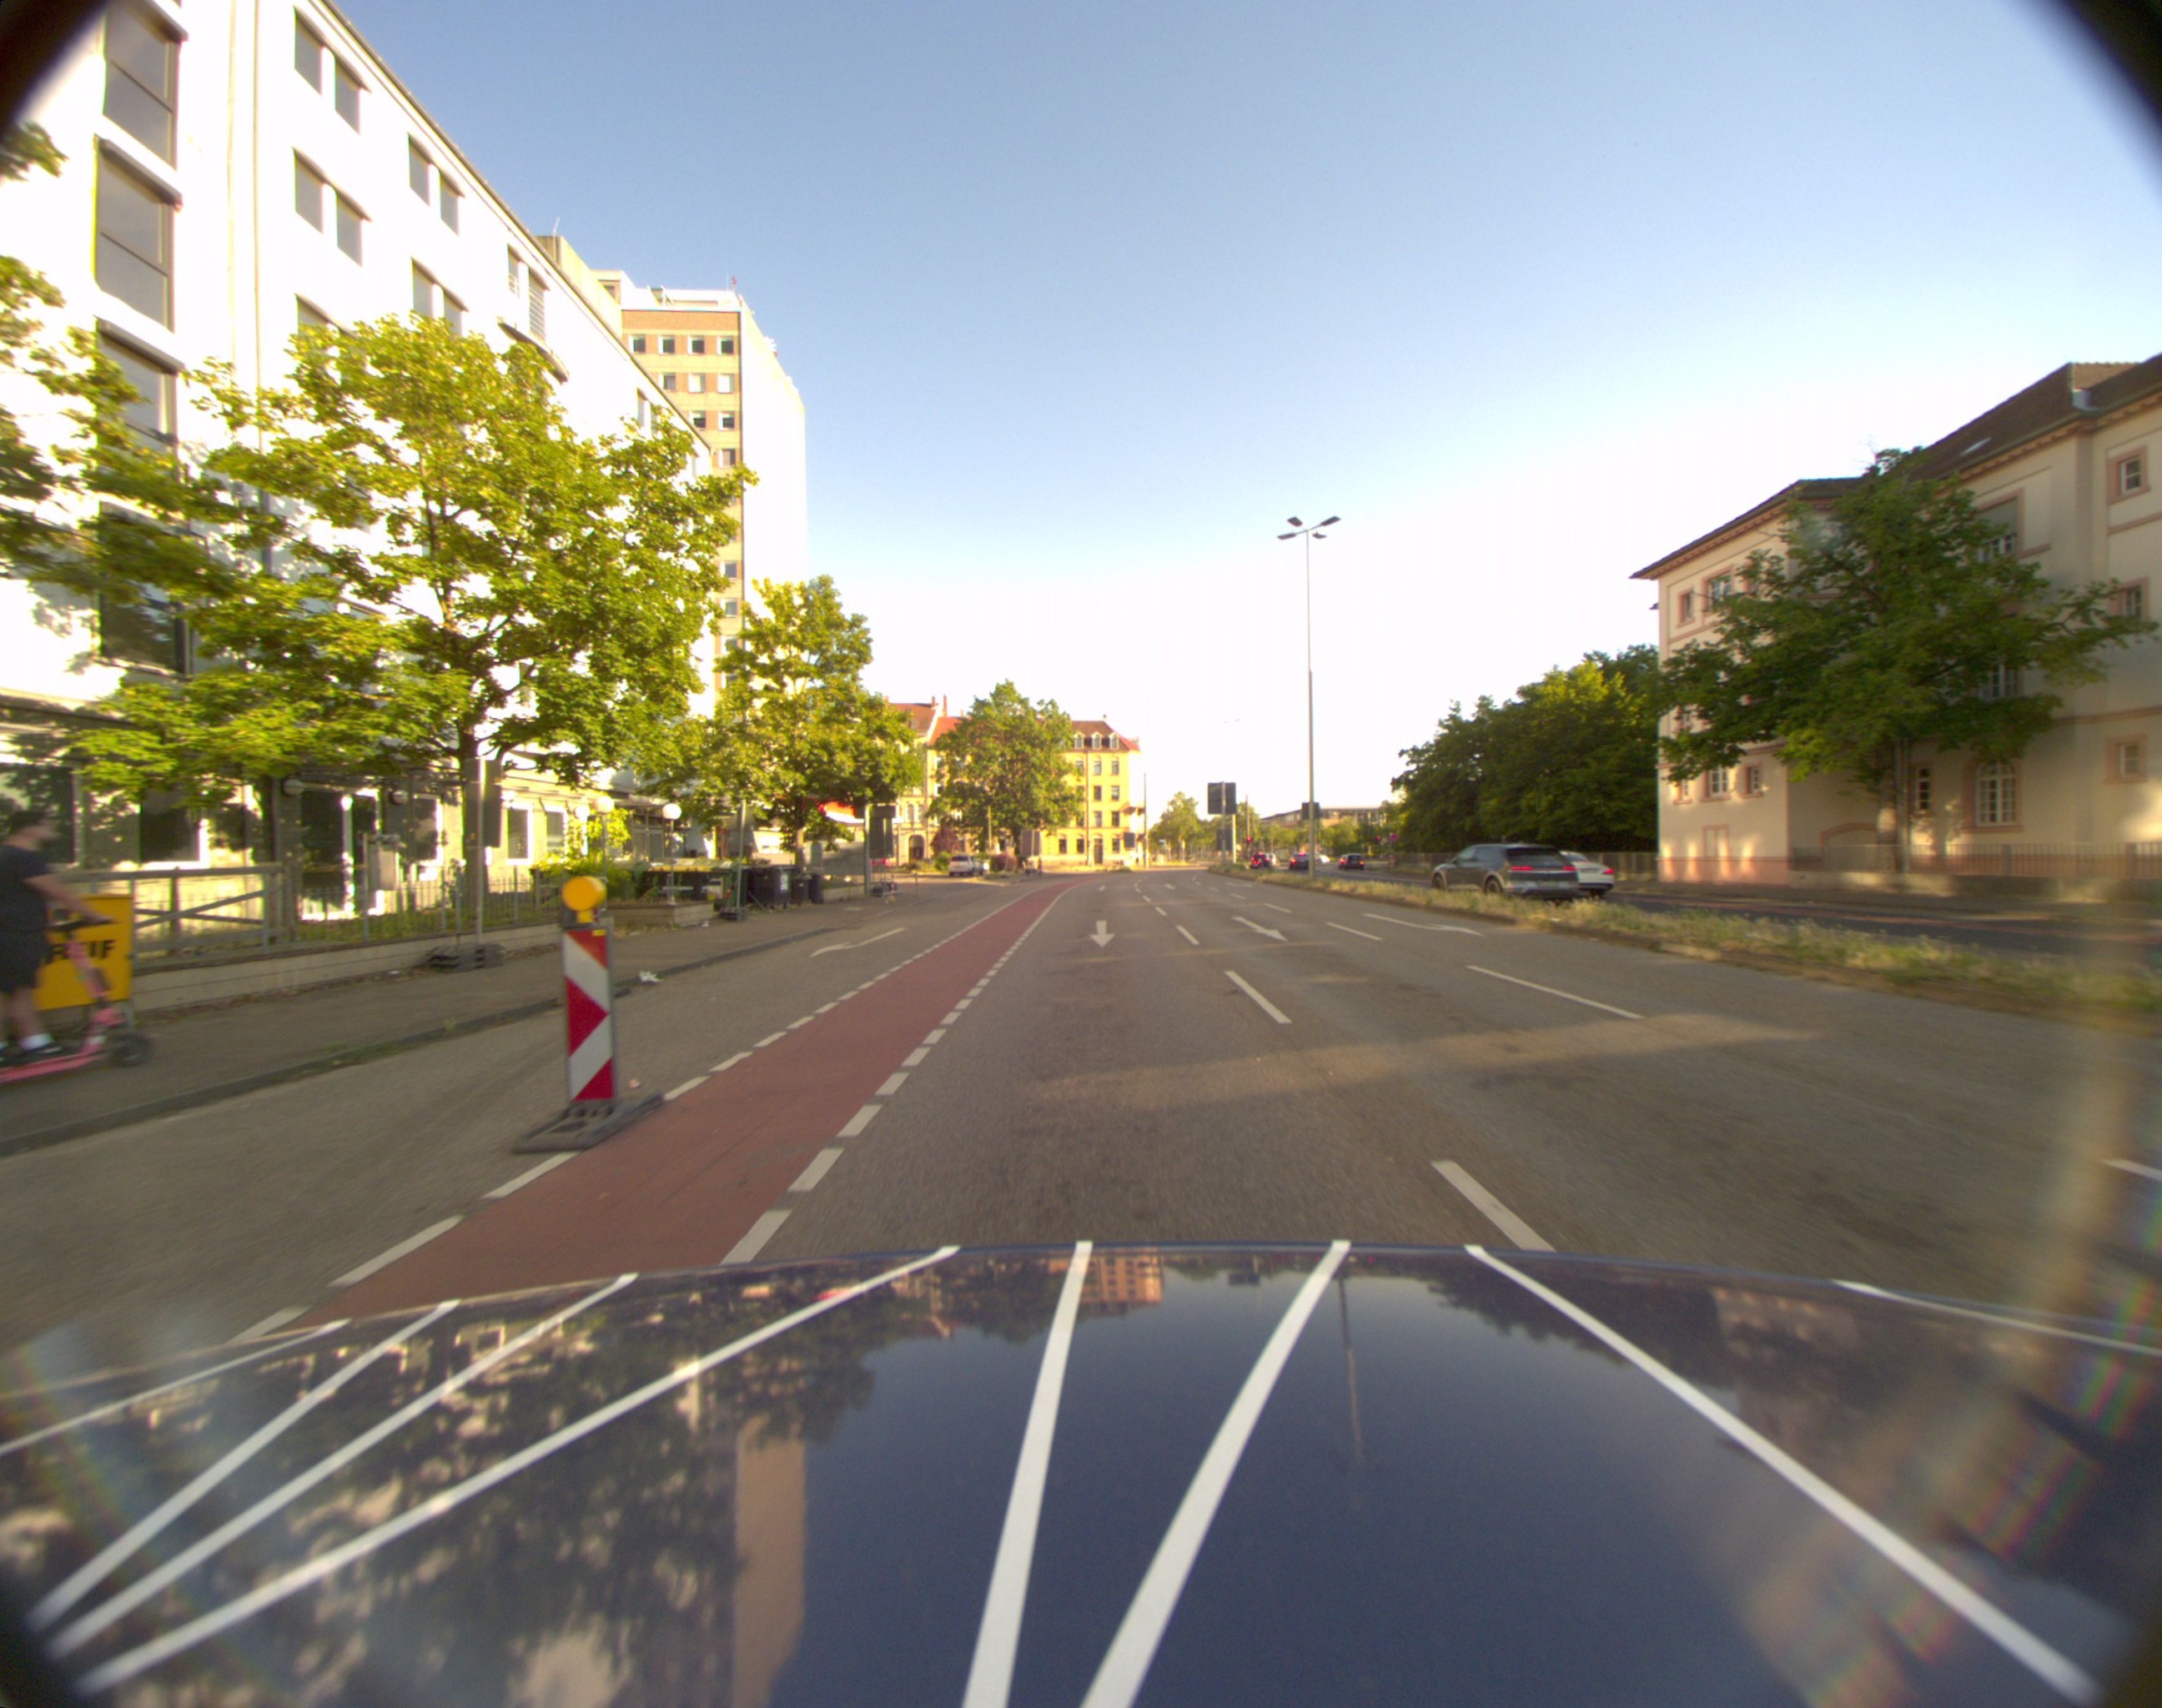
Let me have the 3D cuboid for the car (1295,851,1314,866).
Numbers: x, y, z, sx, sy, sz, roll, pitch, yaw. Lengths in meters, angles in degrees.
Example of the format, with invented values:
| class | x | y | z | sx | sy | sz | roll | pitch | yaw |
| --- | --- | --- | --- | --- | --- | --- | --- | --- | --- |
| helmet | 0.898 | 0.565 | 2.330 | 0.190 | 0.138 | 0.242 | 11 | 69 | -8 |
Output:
| class | x | y | z | sx | sy | sz | roll | pitch | yaw |
| --- | --- | --- | --- | --- | --- | --- | --- | --- | --- |
| car | 21.464 | 0.422 | 72.956 | 1.721 | 1.311 | 3.899 | 0 | 0 | 16 |

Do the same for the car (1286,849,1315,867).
| class | x | y | z | sx | sy | sz | roll | pitch | yaw |
| --- | --- | --- | --- | --- | --- | --- | --- | --- | --- |
| car | 18.873 | 0.359 | 65.530 | 1.997 | 1.487 | 5.297 | 0 | 0 | 12 |

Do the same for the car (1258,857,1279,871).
| class | x | y | z | sx | sy | sz | roll | pitch | yaw |
| --- | --- | --- | --- | --- | --- | --- | --- | --- | --- |
| car | 19.094 | 1.009 | 77.216 | 1.720 | 1.289 | 4.255 | 0 | 0 | 19 |

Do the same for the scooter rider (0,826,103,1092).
| class | x | y | z | sx | sy | sz | roll | pitch | yaw |
| --- | --- | --- | --- | --- | --- | --- | --- | --- | --- |
| scooter rider | -7.519 | 0.708 | 5.339 | 0.616 | 1.779 | 0.487 | -1 | 1 | 2 |

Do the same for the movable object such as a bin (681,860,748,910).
| class | x | y | z | sx | sy | sz | roll | pitch | yaw |
| --- | --- | --- | --- | --- | --- | --- | --- | --- | --- |
| movable object such as a bin | -10.939 | 0.912 | 22.751 | 1.311 | 1.425 | 1.280 | 1 | 0 | 6 |

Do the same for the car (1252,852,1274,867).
| class | x | y | z | sx | sy | sz | roll | pitch | yaw |
| --- | --- | --- | --- | --- | --- | --- | --- | --- | --- |
| car | 17.075 | 0.487 | 71.162 | 1.720 | 1.289 | 4.382 | 0 | 0 | 18 |

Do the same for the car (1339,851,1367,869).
| class | x | y | z | sx | sy | sz | roll | pitch | yaw |
| --- | --- | --- | --- | --- | --- | --- | --- | --- | --- |
| car | 23.876 | 0.502 | 66.784 | 1.856 | 1.455 | 4.004 | -1 | 0 | 13 |

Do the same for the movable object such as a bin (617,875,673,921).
| class | x | y | z | sx | sy | sz | roll | pitch | yaw |
| --- | --- | --- | --- | --- | --- | --- | --- | --- | --- |
| movable object such as a bin | -11.122 | 1.109 | 19.411 | 1.025 | 1.122 | 0.651 | -1 | 1 | 2 |

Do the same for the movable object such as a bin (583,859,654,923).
| class | x | y | z | sx | sy | sz | roll | pitch | yaw |
| --- | --- | --- | --- | --- | --- | --- | --- | --- | --- |
| movable object such as a bin | -11.074 | 0.867 | 18.229 | 1.106 | 1.476 | 0.956 | -1 | 1 | 0 |

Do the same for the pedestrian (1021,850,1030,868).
| class | x | y | z | sx | sy | sz | roll | pitch | yaw |
| --- | --- | --- | --- | --- | --- | --- | --- | --- | --- |
| pedestrian | -5.522 | 0.520 | 76.082 | 0.827 | 1.778 | 0.911 | -1 | 1 | -3 |

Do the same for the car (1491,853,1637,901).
| class | x | y | z | sx | sy | sz | roll | pitch | yaw |
| --- | --- | --- | --- | --- | --- | --- | --- | --- | --- |
| car | 15.338 | 0.664 | 24.484 | 1.998 | 1.405 | 4.444 | 0 | 0 | 2 |

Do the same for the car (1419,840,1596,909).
| class | x | y | z | sx | sy | sz | roll | pitch | yaw |
| --- | --- | --- | --- | --- | --- | --- | --- | --- | --- |
| car | 11.073 | 0.469 | 20.241 | 1.998 | 1.569 | 4.899 | -1 | 0 | 0 |

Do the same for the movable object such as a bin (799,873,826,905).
| class | x | y | z | sx | sy | sz | roll | pitch | yaw |
| --- | --- | --- | --- | --- | --- | --- | --- | --- | --- |
| movable object such as a bin | -8.804 | 1.144 | 24.926 | 0.620 | 1.040 | 0.616 | -1 | 1 | 3 |

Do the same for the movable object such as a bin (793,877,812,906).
| class | x | y | z | sx | sy | sz | roll | pitch | yaw |
| --- | --- | --- | --- | --- | --- | --- | --- | --- | --- |
| movable object such as a bin | -8.906 | 1.204 | 24.329 | 0.393 | 0.901 | 0.490 | -1 | 1 | 3 |

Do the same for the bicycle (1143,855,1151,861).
| class | x | y | z | sx | sy | sz | roll | pitch | yaw |
| --- | --- | --- | --- | --- | --- | --- | --- | --- | --- |
| bicycle | 10.650 | 0.623 | 122.647 | 1.071 | 1.018 | 2.976 | 0 | 0 | 4 |

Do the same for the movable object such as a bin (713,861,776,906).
| class | x | y | z | sx | sy | sz | roll | pitch | yaw |
| --- | --- | --- | --- | --- | --- | --- | --- | --- | --- |
| movable object such as a bin | -10.876 | 0.956 | 24.602 | 1.612 | 1.402 | 0.865 | -1 | 1 | 0 |

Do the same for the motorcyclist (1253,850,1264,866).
| class | x | y | z | sx | sy | sz | roll | pitch | yaw |
| --- | --- | --- | --- | --- | --- | --- | --- | --- | --- |
| motorcyclist | 15.558 | 0.384 | 66.687 | 0.852 | 1.390 | 1.063 | 0 | 1 | 18 |

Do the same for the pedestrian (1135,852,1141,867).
| class | x | y | z | sx | sy | sz | roll | pitch | yaw |
| --- | --- | --- | --- | --- | --- | --- | --- | --- | --- |
| pedestrian | 6.310 | 0.568 | 83.976 | 0.488 | 1.622 | 0.526 | 0 | 1 | 36 |

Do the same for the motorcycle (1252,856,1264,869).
| class | x | y | z | sx | sy | sz | roll | pitch | yaw |
| --- | --- | --- | --- | --- | --- | --- | --- | --- | --- |
| motorcycle | 15.568 | 0.720 | 66.748 | 0.859 | 1.101 | 2.473 | 0 | 0 | 17 |

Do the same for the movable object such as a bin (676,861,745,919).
| class | x | y | z | sx | sy | sz | roll | pitch | yaw |
| --- | --- | --- | --- | --- | --- | --- | --- | --- | --- |
| movable object such as a bin | -9.943 | 0.952 | 20.446 | 1.330 | 1.476 | 1.209 | -1 | 1 | -9 |

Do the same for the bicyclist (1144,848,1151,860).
| class | x | y | z | sx | sy | sz | roll | pitch | yaw |
| --- | --- | --- | --- | --- | --- | --- | --- | --- | --- |
| bicyclist | 10.652 | -0.017 | 122.552 | 1.071 | 1.831 | 1.303 | 0 | 1 | 4 |

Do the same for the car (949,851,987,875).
| class | x | y | z | sx | sy | sz | roll | pitch | yaw |
| --- | --- | --- | --- | --- | --- | --- | --- | --- | --- |
| car | -7.827 | 0.627 | 53.000 | 1.622 | 1.584 | 3.896 | 0 | 1 | 8 |

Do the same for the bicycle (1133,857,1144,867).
| class | x | y | z | sx | sy | sz | roll | pitch | yaw |
| --- | --- | --- | --- | --- | --- | --- | --- | --- | --- |
| bicycle | 6.375 | 0.881 | 83.969 | 0.398 | 1.023 | 1.675 | 0 | 1 | 36 |

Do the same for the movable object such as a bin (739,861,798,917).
| class | x | y | z | sx | sy | sz | roll | pitch | yaw |
| --- | --- | --- | --- | --- | --- | --- | --- | --- | --- |
| movable object such as a bin | -9.009 | 0.980 | 21.974 | 1.095 | 1.500 | 1.253 | -1 | 3 | 1 |

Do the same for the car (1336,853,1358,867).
| class | x | y | z | sx | sy | sz | roll | pitch | yaw |
| --- | --- | --- | --- | --- | --- | --- | --- | --- | --- |
| car | 25.700 | 0.607 | 73.414 | 1.721 | 1.289 | 3.899 | 0 | 0 | 16 |

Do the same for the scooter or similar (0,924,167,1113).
| class | x | y | z | sx | sy | sz | roll | pitch | yaw |
| --- | --- | --- | --- | --- | --- | --- | --- | --- | --- |
| scooter or similar | -7.476 | 1.157 | 5.421 | 0.331 | 1.188 | 1.251 | -1 | 1 | 2 |

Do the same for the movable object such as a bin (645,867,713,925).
| class | x | y | z | sx | sy | sz | roll | pitch | yaw |
| --- | --- | --- | --- | --- | --- | --- | --- | --- | --- |
| movable object such as a bin | -9.780 | 0.998 | 18.544 | 1.218 | 1.336 | 1.054 | -1 | 1 | -14 |

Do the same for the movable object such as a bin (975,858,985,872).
| class | x | y | z | sx | sy | sz | roll | pitch | yaw |
| --- | --- | --- | --- | --- | --- | --- | --- | --- | --- |
| movable object such as a bin | -7.627 | 0.818 | 57.471 | 0.573 | 1.023 | 0.674 | 0 | 1 | 5 |

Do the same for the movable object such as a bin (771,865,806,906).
| class | x | y | z | sx | sy | sz | roll | pitch | yaw |
| --- | --- | --- | --- | --- | --- | --- | --- | --- | --- |
| movable object such as a bin | -9.528 | 1.008 | 24.796 | 0.779 | 1.301 | 0.865 | -1 | 1 | 0 |

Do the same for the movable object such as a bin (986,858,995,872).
| class | x | y | z | sx | sy | sz | roll | pitch | yaw |
| --- | --- | --- | --- | --- | --- | --- | --- | --- | --- |
| movable object such as a bin | -6.849 | 0.820 | 57.551 | 0.573 | 1.023 | 0.674 | 0 | 1 | 5 |

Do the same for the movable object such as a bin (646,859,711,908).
| class | x | y | z | sx | sy | sz | roll | pitch | yaw |
| --- | --- | --- | --- | --- | --- | --- | --- | --- | --- |
| movable object such as a bin | -12.087 | 0.868 | 22.873 | 1.198 | 1.412 | 1.279 | 1 | 0 | 3 |
